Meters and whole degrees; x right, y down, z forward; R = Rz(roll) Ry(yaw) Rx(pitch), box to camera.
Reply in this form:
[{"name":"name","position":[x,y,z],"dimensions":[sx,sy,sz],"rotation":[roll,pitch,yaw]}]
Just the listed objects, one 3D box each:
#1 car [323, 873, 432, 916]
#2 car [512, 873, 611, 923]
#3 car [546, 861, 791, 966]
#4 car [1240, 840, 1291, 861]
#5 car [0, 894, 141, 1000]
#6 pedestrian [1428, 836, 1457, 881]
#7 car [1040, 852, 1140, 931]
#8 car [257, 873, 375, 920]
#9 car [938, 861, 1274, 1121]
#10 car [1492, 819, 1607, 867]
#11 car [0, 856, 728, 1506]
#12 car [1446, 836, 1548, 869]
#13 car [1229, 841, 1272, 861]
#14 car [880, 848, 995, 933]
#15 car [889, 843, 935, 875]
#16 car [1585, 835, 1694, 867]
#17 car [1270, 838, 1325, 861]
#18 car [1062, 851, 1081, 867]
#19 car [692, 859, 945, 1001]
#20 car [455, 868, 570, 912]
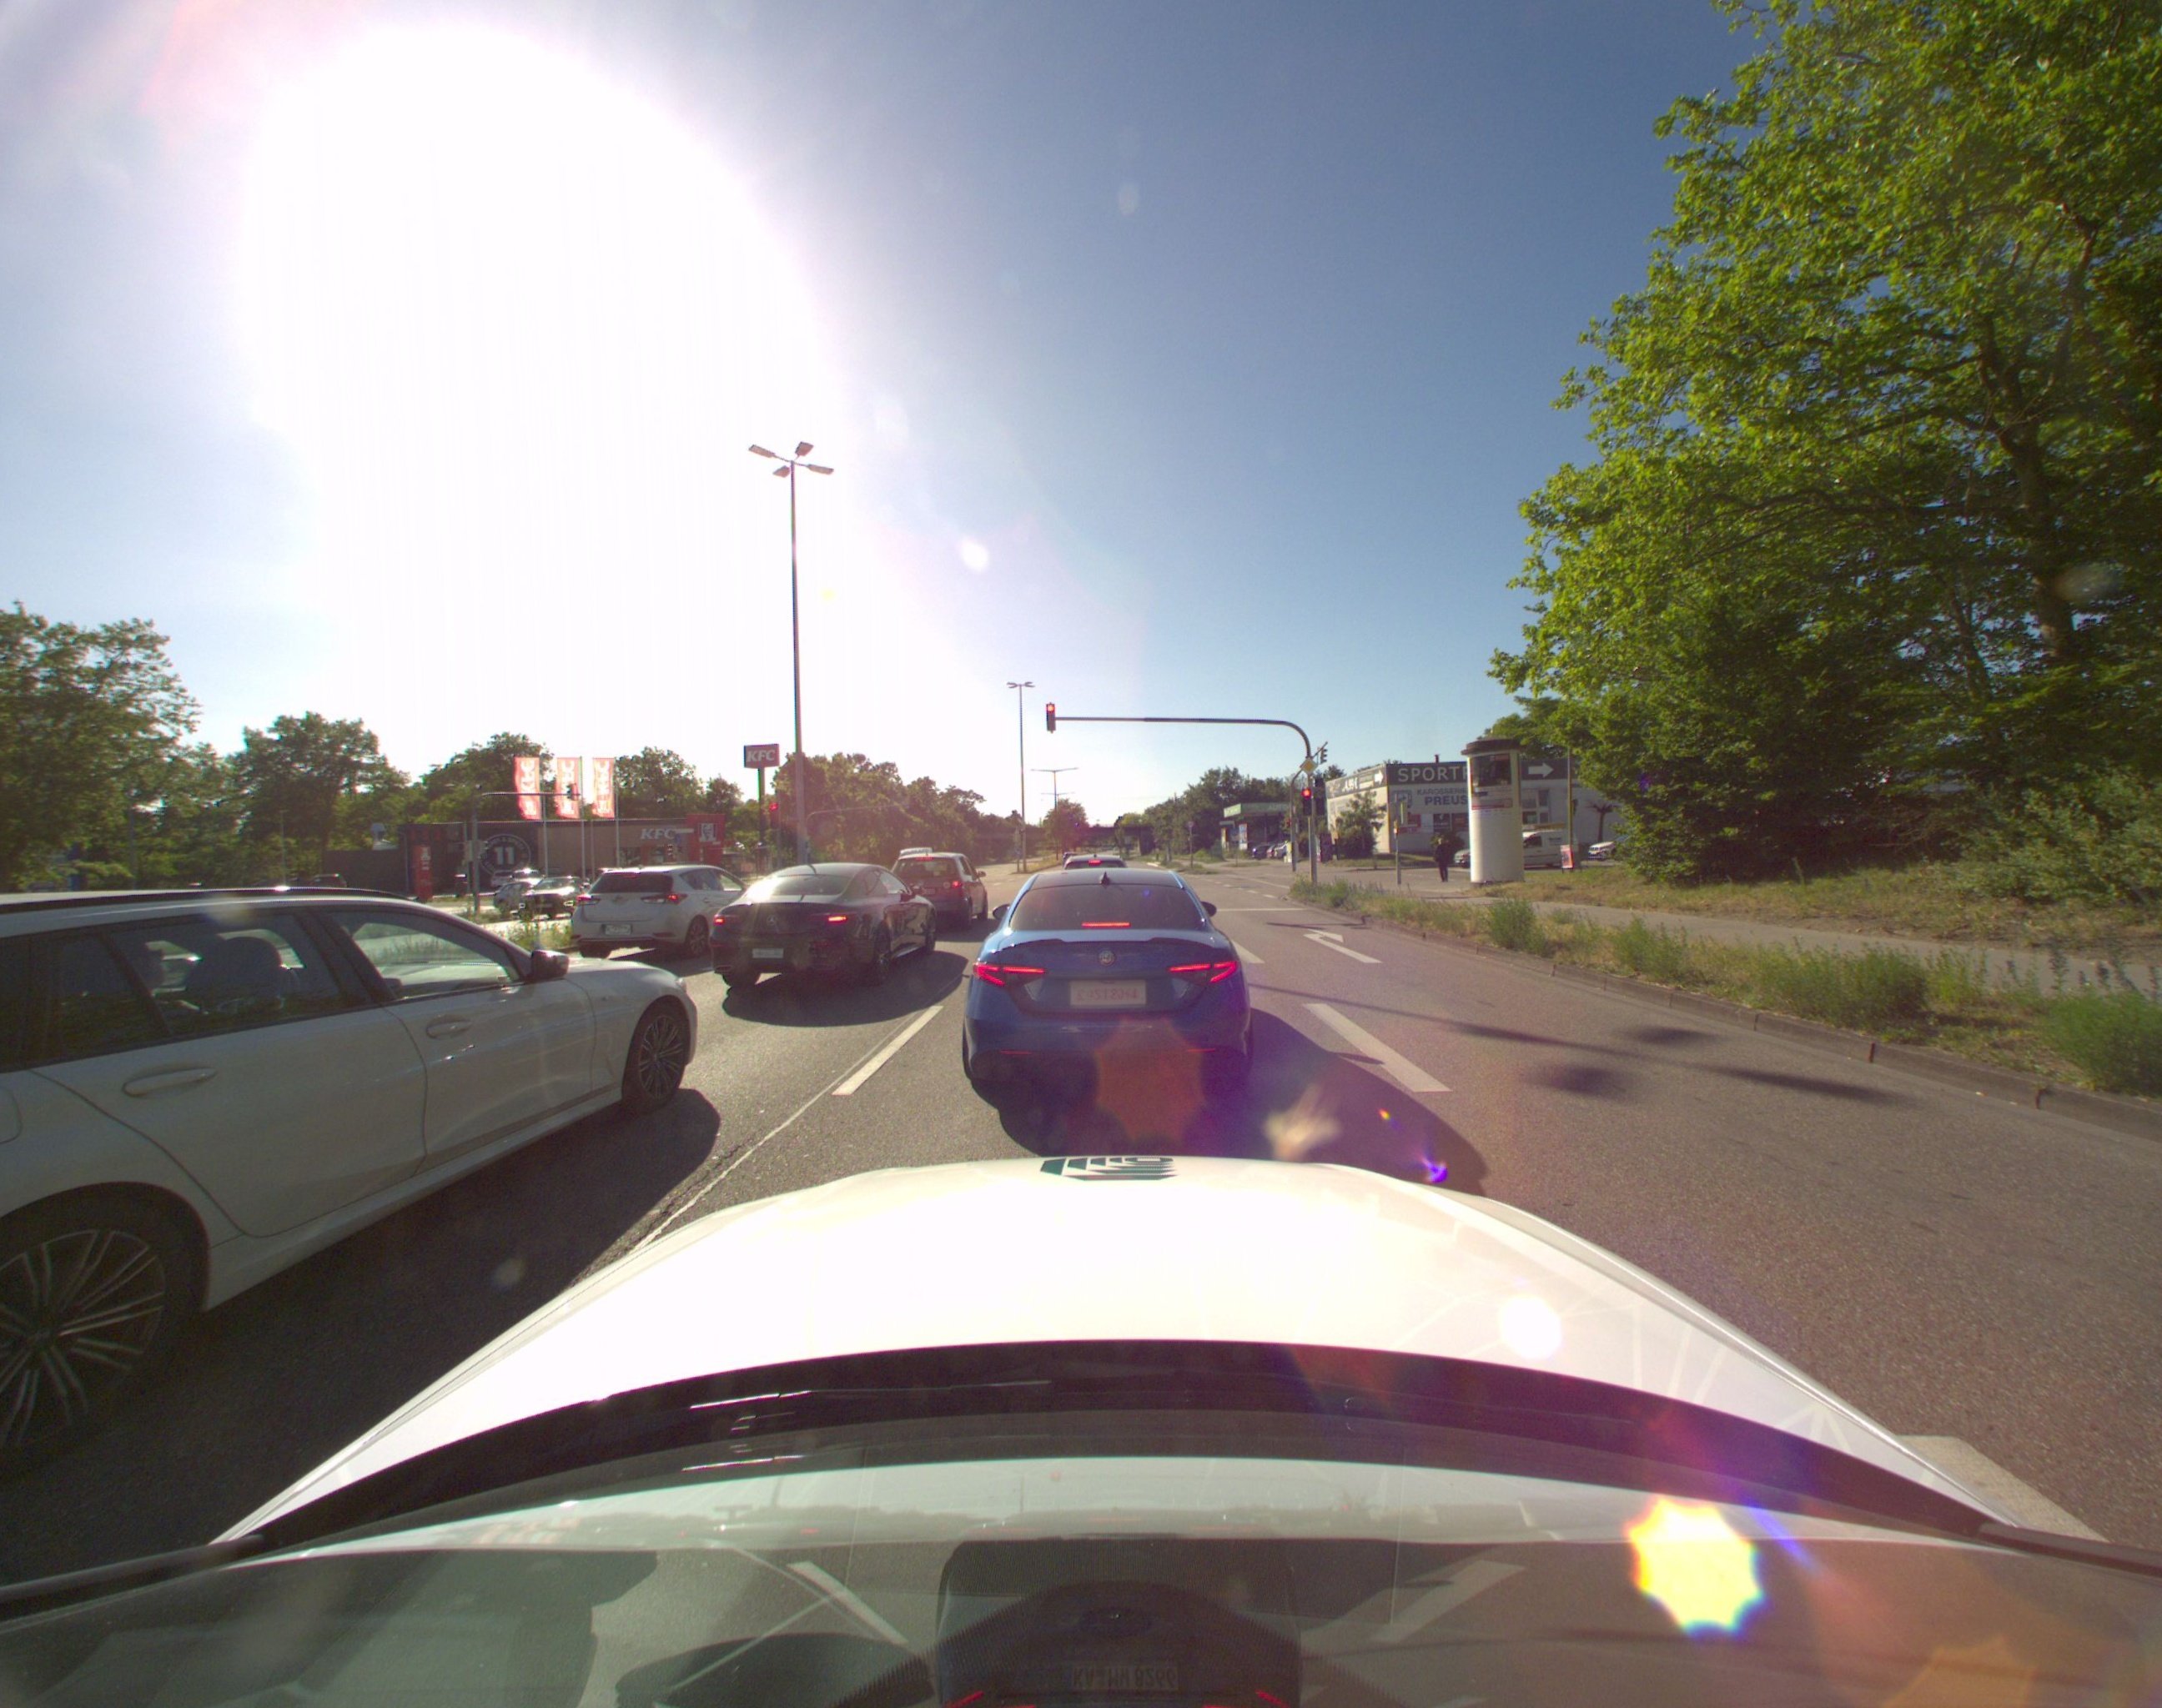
[{"name":"car","position":[-36.501,2.077,42.309],"dimensions":[3.969,2.013,2.002],"rotation":[-1,0,3]},{"name":"car","position":[-18.843,1.528,29.800],"dimensions":[1.862,1.544,4.707],"rotation":[-1,0,-18]},{"name":"car","position":[-6.787,0.880,14.050],"dimensions":[1.850,1.429,4.405],"rotation":[-1,0,2]},{"name":"car","position":[16.045,-0.287,70.757],"dimensions":[3.997,1.706,1.685],"rotation":[-1,0,-18]},{"name":"car","position":[-16.409,1.409,11.110],"dimensions":[1.854,1.429,4.728],"rotation":[-1,0,-5]},{"name":"pedestrian","position":[14.108,0.186,31.776],"dimensions":[0.818,1.721,0.856],"rotation":[-2,0,9]},{"name":"car","position":[0.232,0.701,17.195],"dimensions":[1.859,1.450,3.933],"rotation":[-1,0,2]},{"name":"car","position":[-36.179,1.989,38.556],"dimensions":[3.962,2.013,2.006],"rotation":[-1,0,10]},{"name":"car","position":[0.202,0.787,6.528],"dimensions":[1.859,1.385,3.933],"rotation":[-1,0,2]},{"name":"car","position":[22.633,-0.518,39.462],"dimensions":[4.393,2.145,1.999],"rotation":[-1,0,-2]},{"name":"car","position":[-3.391,0.795,3.358],"dimensions":[1.762,1.509,4.463],"rotation":[-1,0,2]},{"name":"car","position":[21.955,-0.077,43.061],"dimensions":[4.393,1.553,1.999],"rotation":[-1,0,-2]},{"name":"car","position":[15.388,-0.251,73.965],"dimensions":[3.489,1.706,1.687],"rotation":[-1,0,-14]},{"name":"car","position":[-2.981,0.698,17.708],"dimensions":[1.642,1.598,3.933],"rotation":[-1,0,2]},{"name":"car","position":[-13.902,0.381,67.369],"dimensions":[2.422,2.427,5.833],"rotation":[-1,0,2]},{"name":"car","position":[29.290,-0.167,42.773],"dimensions":[4.393,1.553,1.999],"rotation":[-1,0,-2]},{"name":"car","position":[17.515,-0.356,65.862],"dimensions":[3.993,1.706,1.687],"rotation":[-1,0,-15]},{"name":"car","position":[-0.965,0.471,82.450],"dimensions":[1.813,1.595,4.050],"rotation":[-1,0,0]},{"name":"car","position":[-3.143,0.812,10.831],"dimensions":[1.762,1.414,4.463],"rotation":[-1,0,2]},{"name":"car","position":[-25.706,1.641,36.847],"dimensions":[4.242,1.845,2.009],"rotation":[-1,0,17]}]
